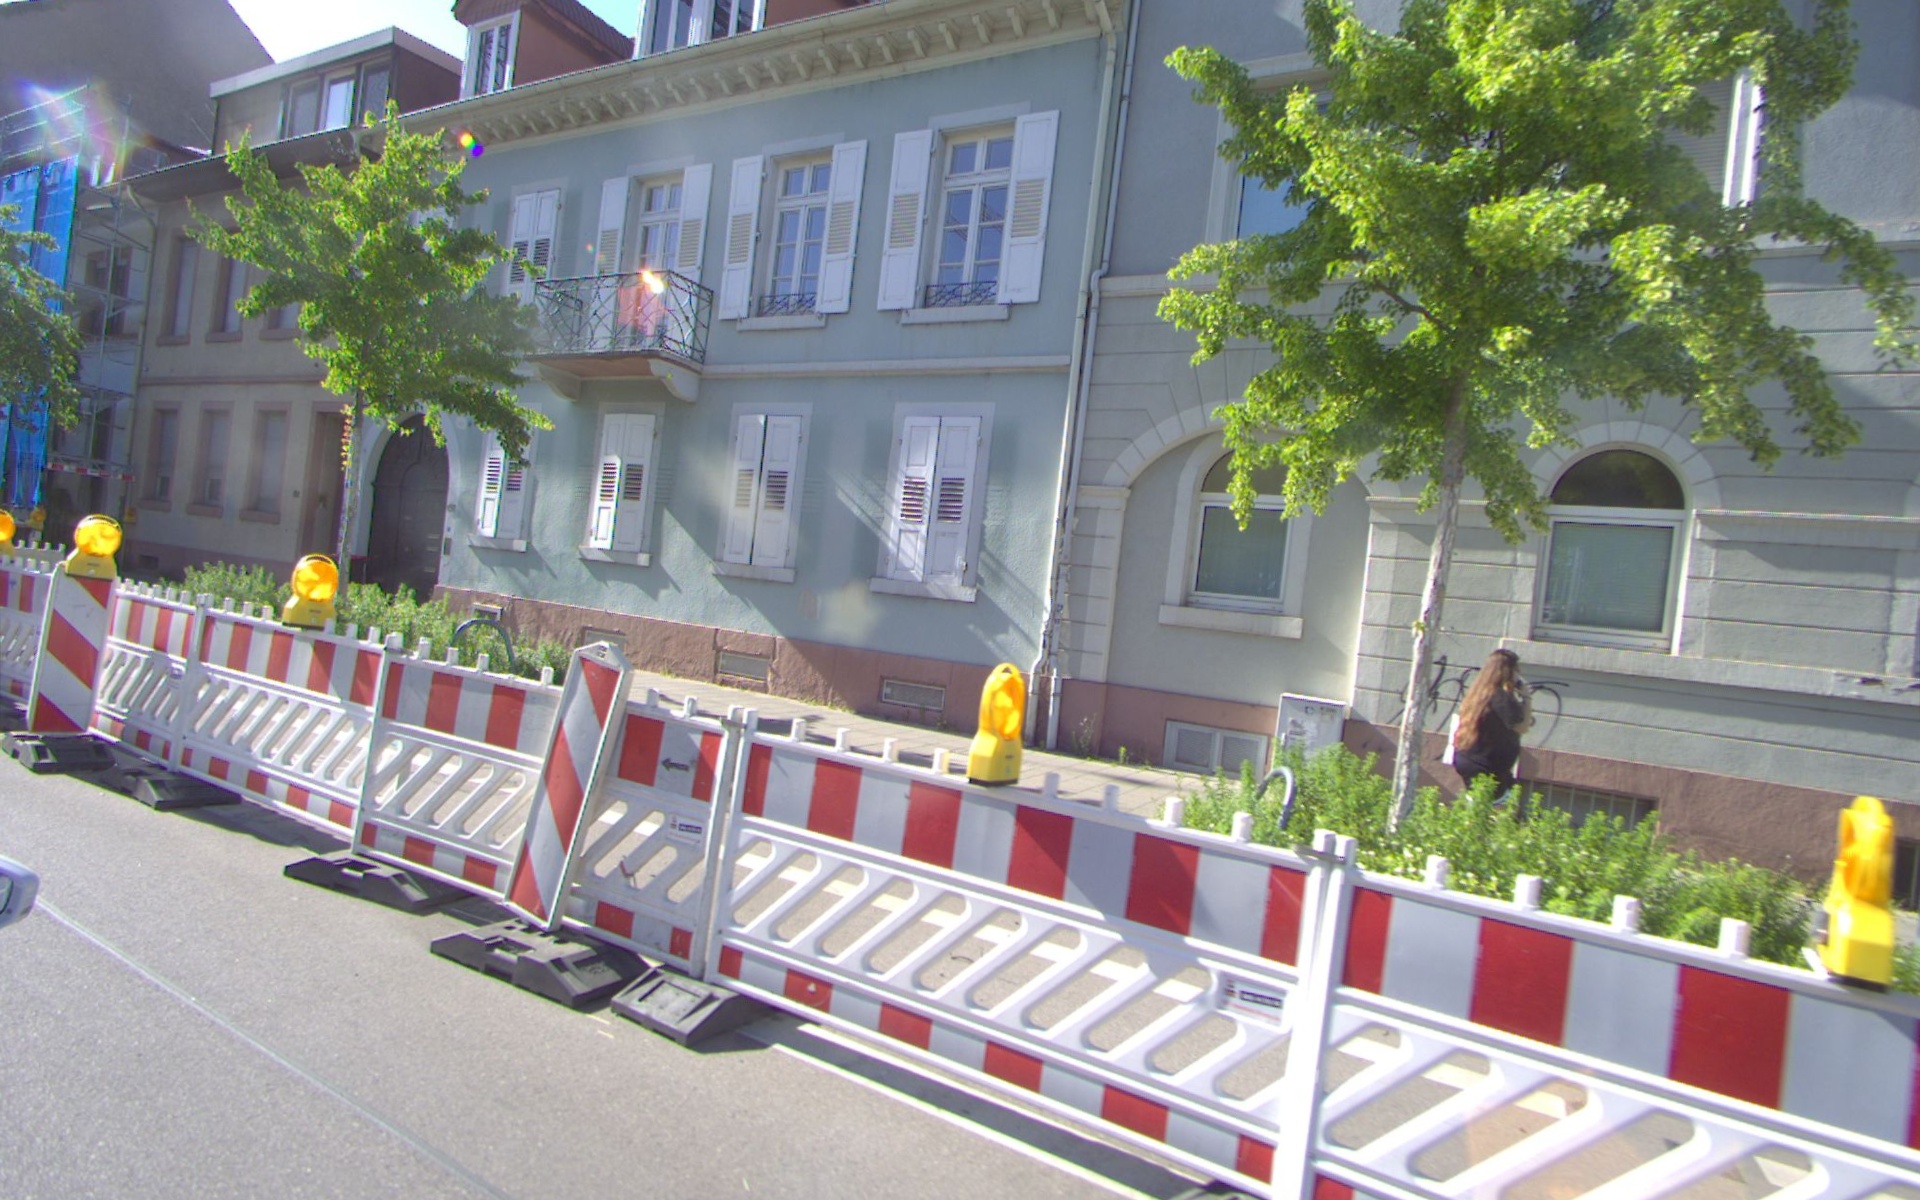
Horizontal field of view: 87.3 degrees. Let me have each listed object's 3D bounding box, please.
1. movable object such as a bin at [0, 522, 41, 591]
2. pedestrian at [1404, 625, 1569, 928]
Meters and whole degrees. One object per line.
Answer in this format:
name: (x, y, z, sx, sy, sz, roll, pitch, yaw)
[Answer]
movable object such as a bin: (-15.775, -0.722, 16.643, 0.769, 1.073, 0.588, 7, 5, 25)
pedestrian: (3.748, 1.214, 7.242, 0.756, 1.952, 0.795, 7, 0, 22)
